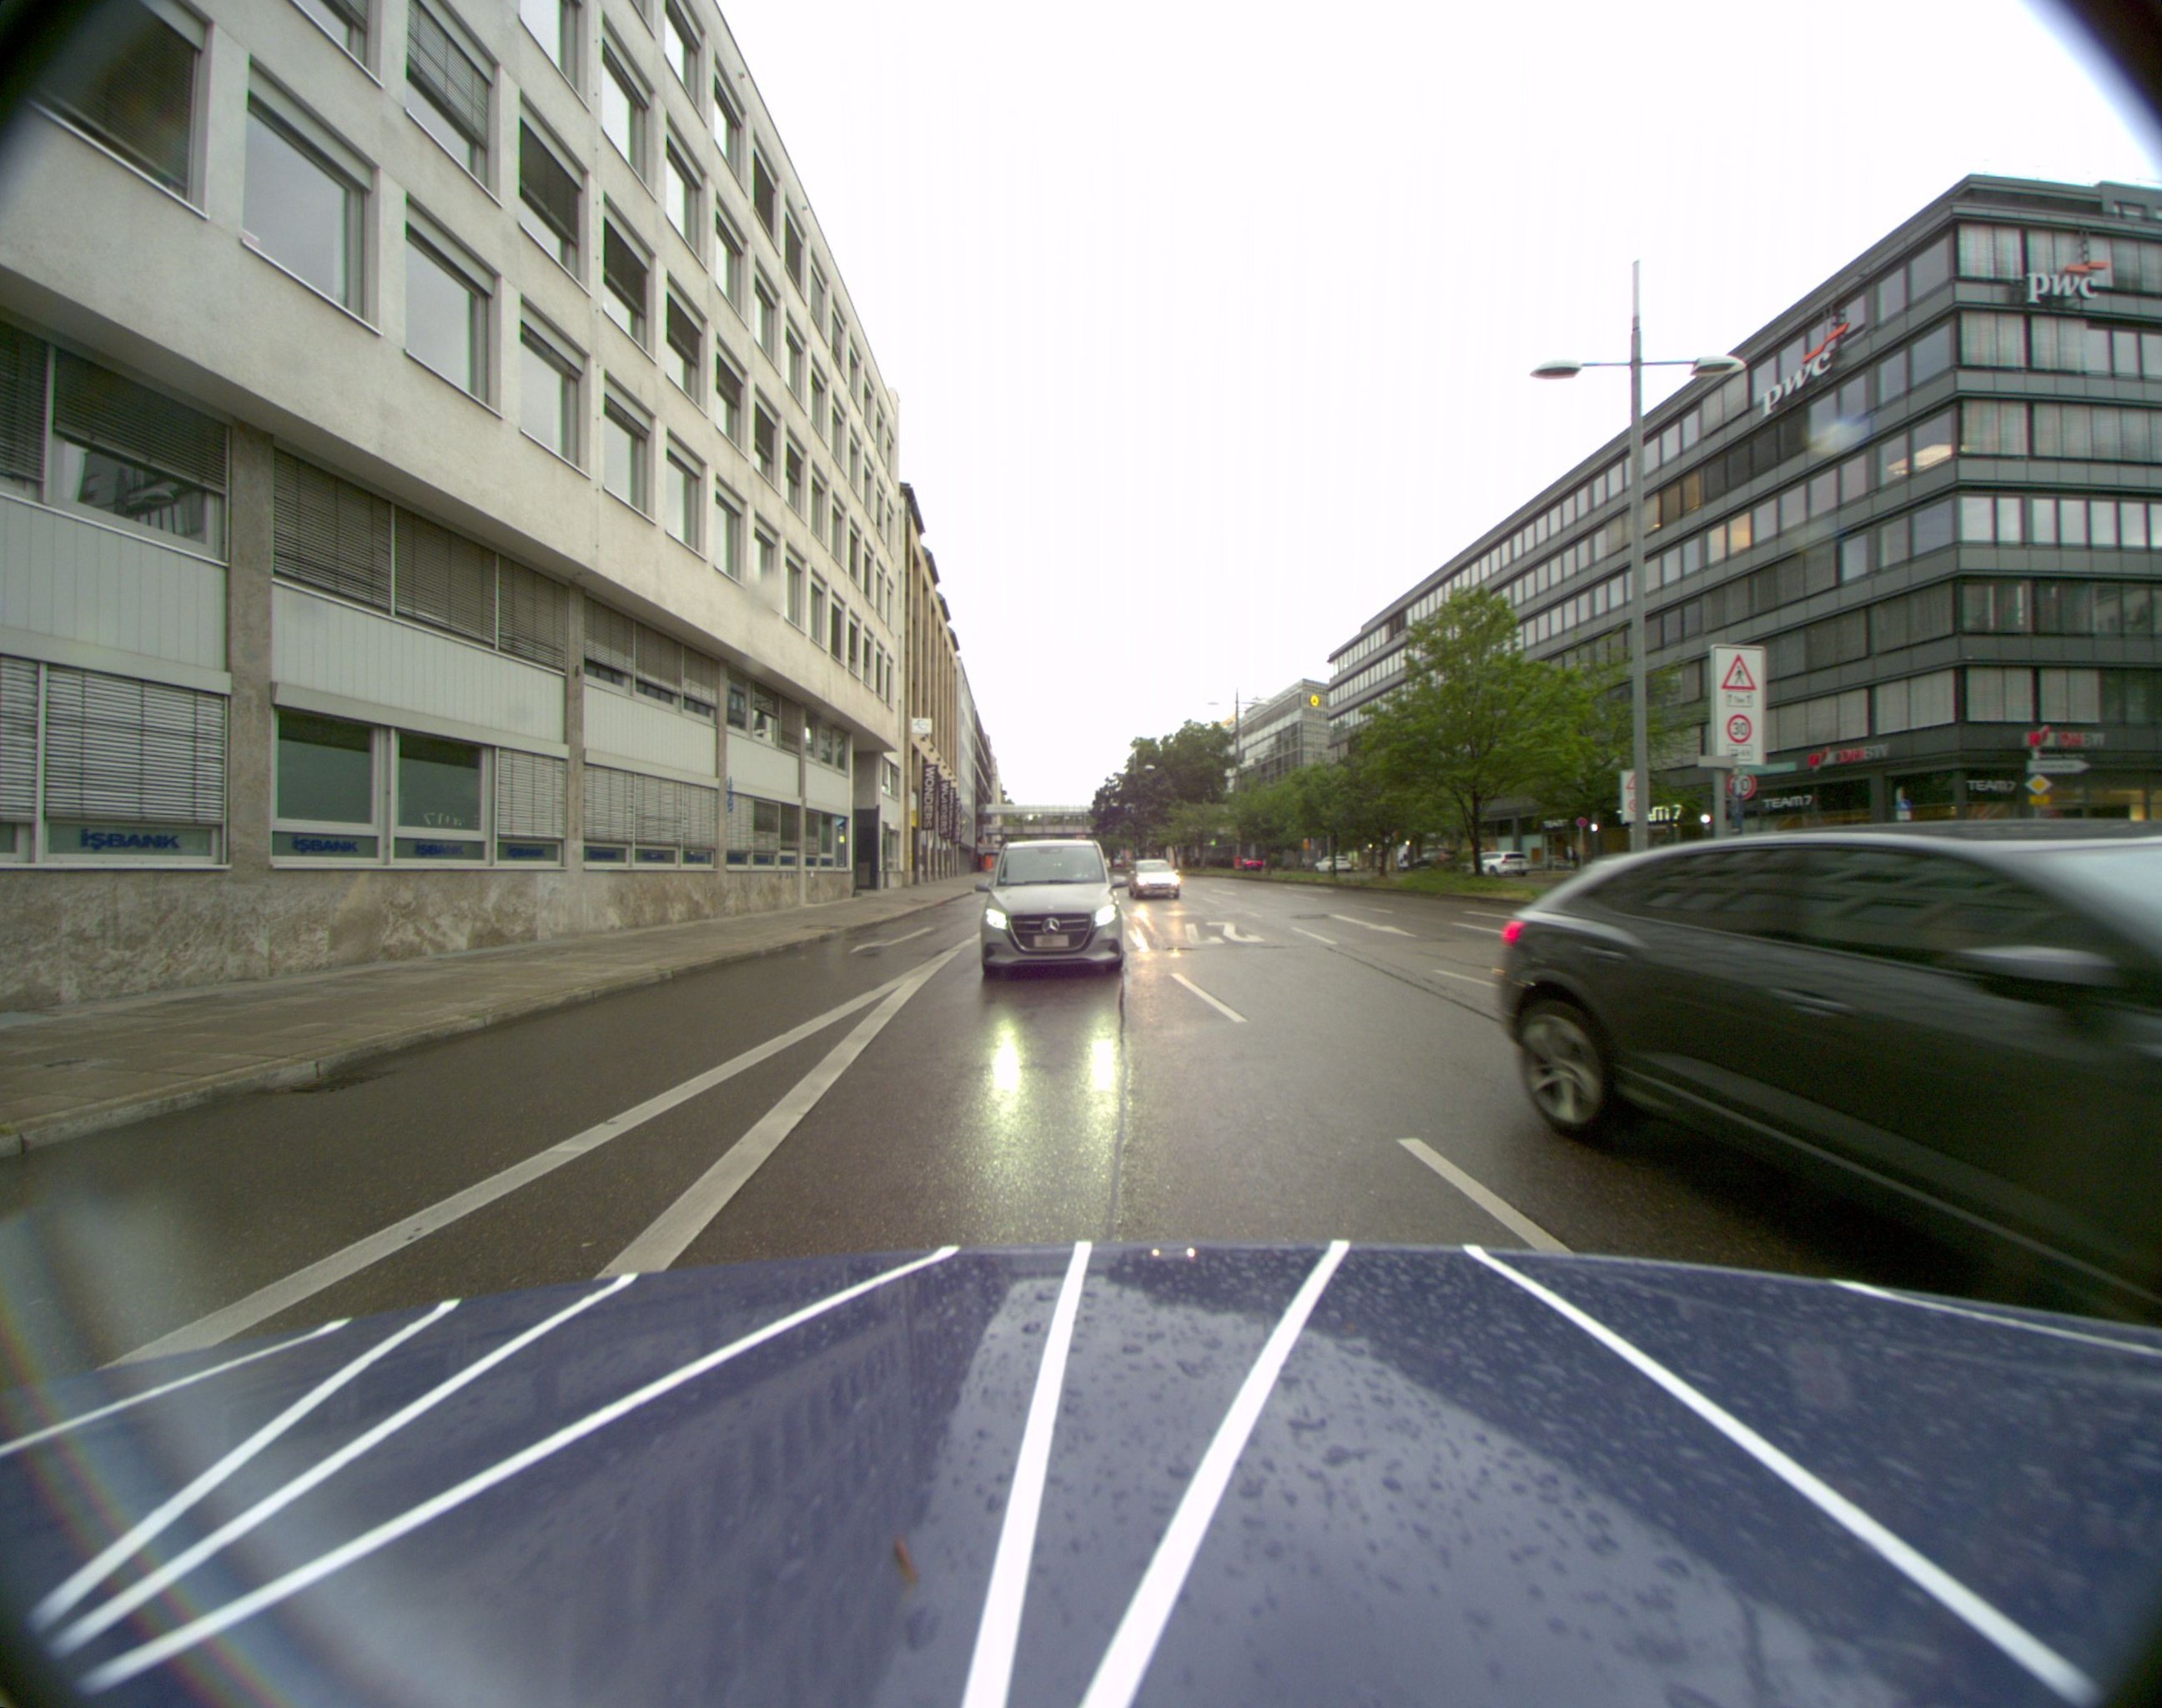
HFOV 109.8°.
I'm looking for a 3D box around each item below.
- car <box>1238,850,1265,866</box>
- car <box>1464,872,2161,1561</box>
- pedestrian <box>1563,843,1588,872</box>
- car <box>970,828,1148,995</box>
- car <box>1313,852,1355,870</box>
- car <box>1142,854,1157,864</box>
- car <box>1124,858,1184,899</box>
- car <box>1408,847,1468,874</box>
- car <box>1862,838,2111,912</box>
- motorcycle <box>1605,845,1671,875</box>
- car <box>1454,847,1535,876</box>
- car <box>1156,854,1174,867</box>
[{"bbox_3d":[17.797,0.408,79.536,1.998,1.535,4.483,-1,0,2],"label":"car"},{"bbox_3d":[3.315,0.831,2.354,1.941,1.426,4.287,-1,0,-2],"label":"car"},{"bbox_3d":[29.151,0.209,44.770,0.786,1.628,0.965,-1,0,-4],"label":"pedestrian"},{"bbox_3d":[-0.419,0.717,11.921,2.163,2.014,5.040,-1,0,-4],"label":"car"},{"bbox_3d":[22.281,0.629,67.000,1.814,1.436,4.307,-2,0,-7],"label":"car"},{"bbox_3d":[10.687,0.777,118.875,1.687,1.423,4.081,-1,0,-5],"label":"car"},{"bbox_3d":[2.779,0.914,29.688,1.853,1.434,3.869,-1,0,-2],"label":"car"},{"bbox_3d":[23.670,0.435,50.519,1.813,1.651,4.309,-2,0,-2],"label":"car"},{"bbox_3d":[21.224,0.459,18.080,1.787,1.564,3.693,-1,0,8],"label":"car"},{"bbox_3d":[26.967,0.297,36.840,0.861,1.386,2.364,-5,2,-30],"label":"motorcycle"},{"bbox_3d":[24.009,0.442,44.384,1.814,1.477,4.771,-4,0,-4],"label":"car"},{"bbox_3d":[11.952,0.928,108.233,1.742,1.717,4.491,0,0,-6],"label":"car"}]
